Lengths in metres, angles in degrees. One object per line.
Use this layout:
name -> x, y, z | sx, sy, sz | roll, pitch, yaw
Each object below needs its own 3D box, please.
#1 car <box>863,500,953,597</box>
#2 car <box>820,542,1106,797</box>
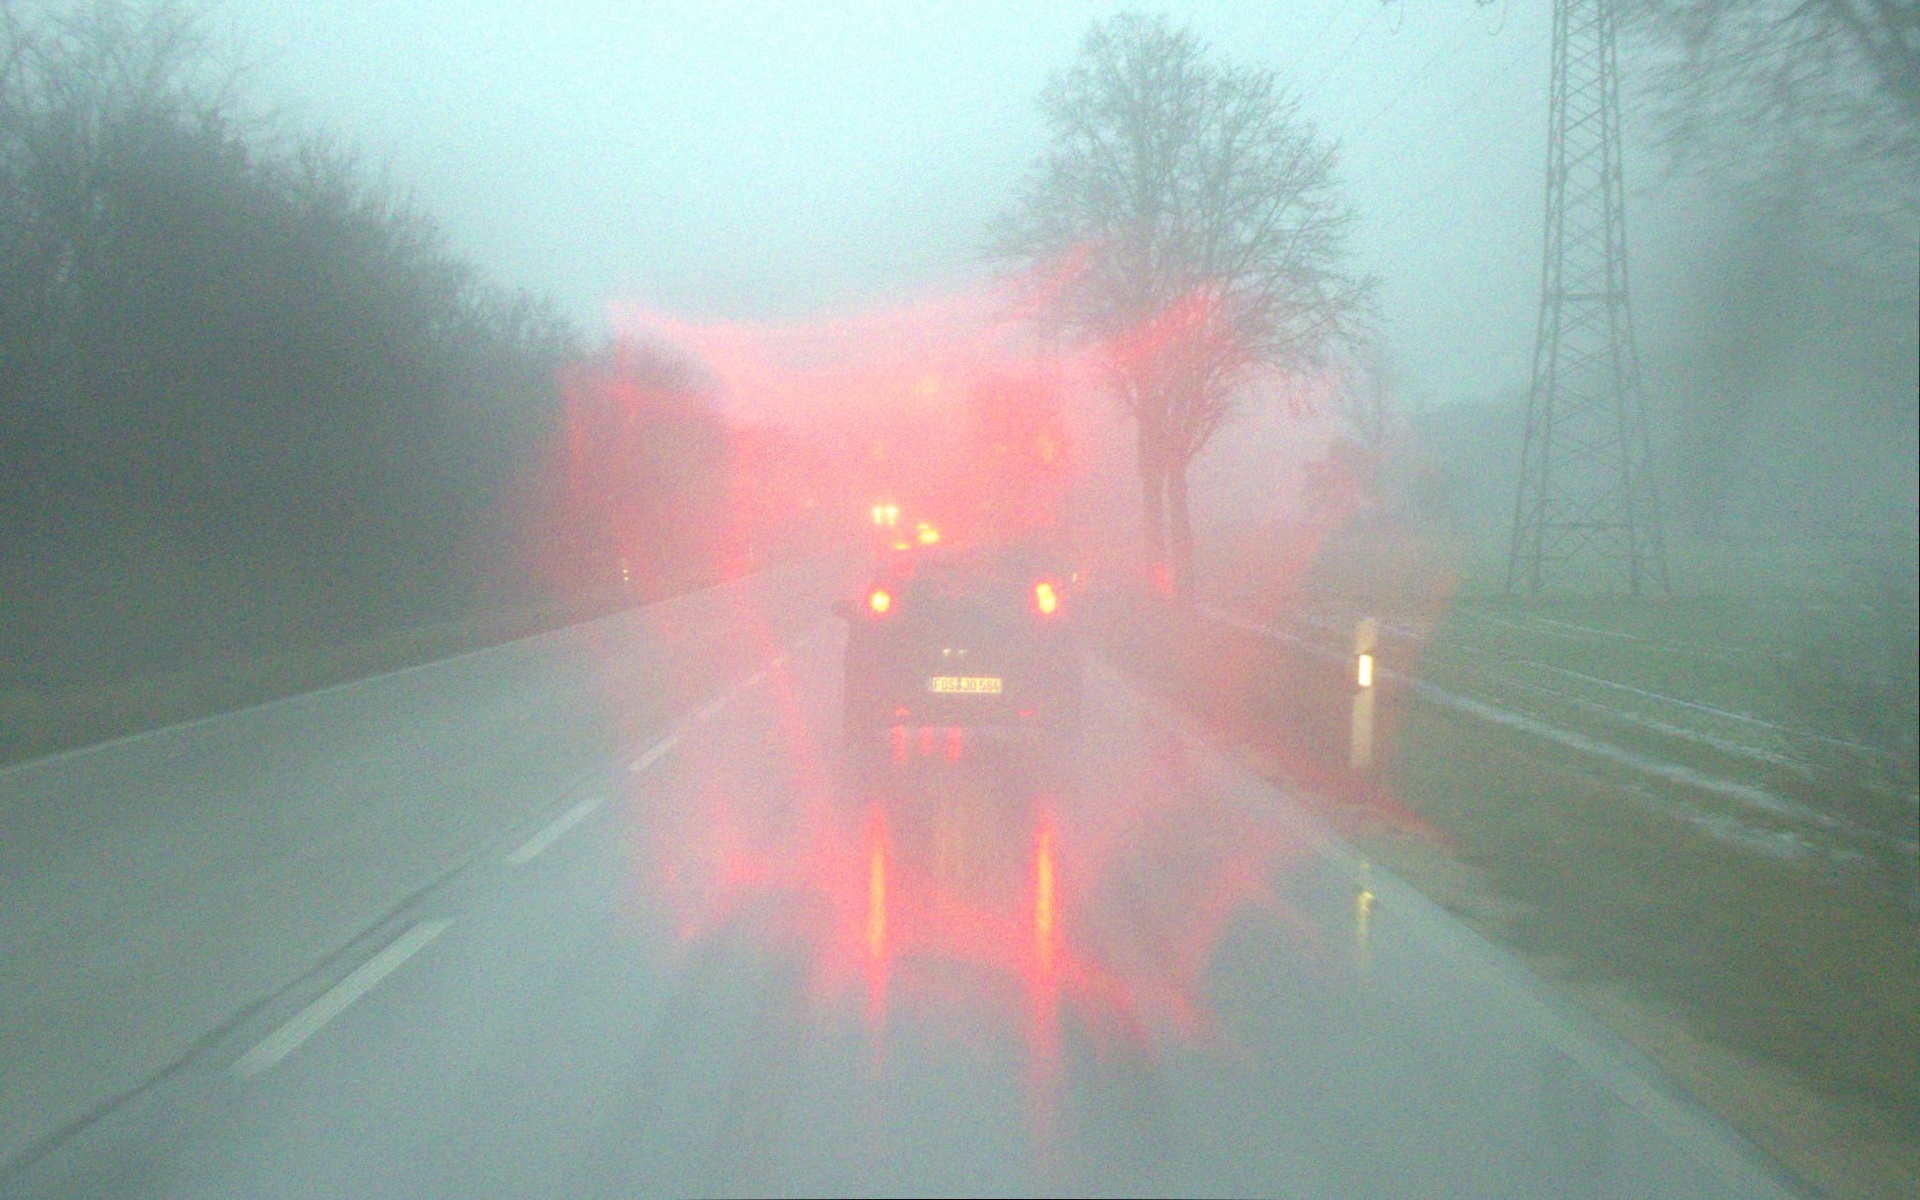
car -> -1.240, -1.290, 83.722 | 1.993, 2.006, 4.001 | 3, 4, 0
car -> 0.001, 0.451, 25.974 | 1.993, 1.746, 4.000 | 0, 1, 0
